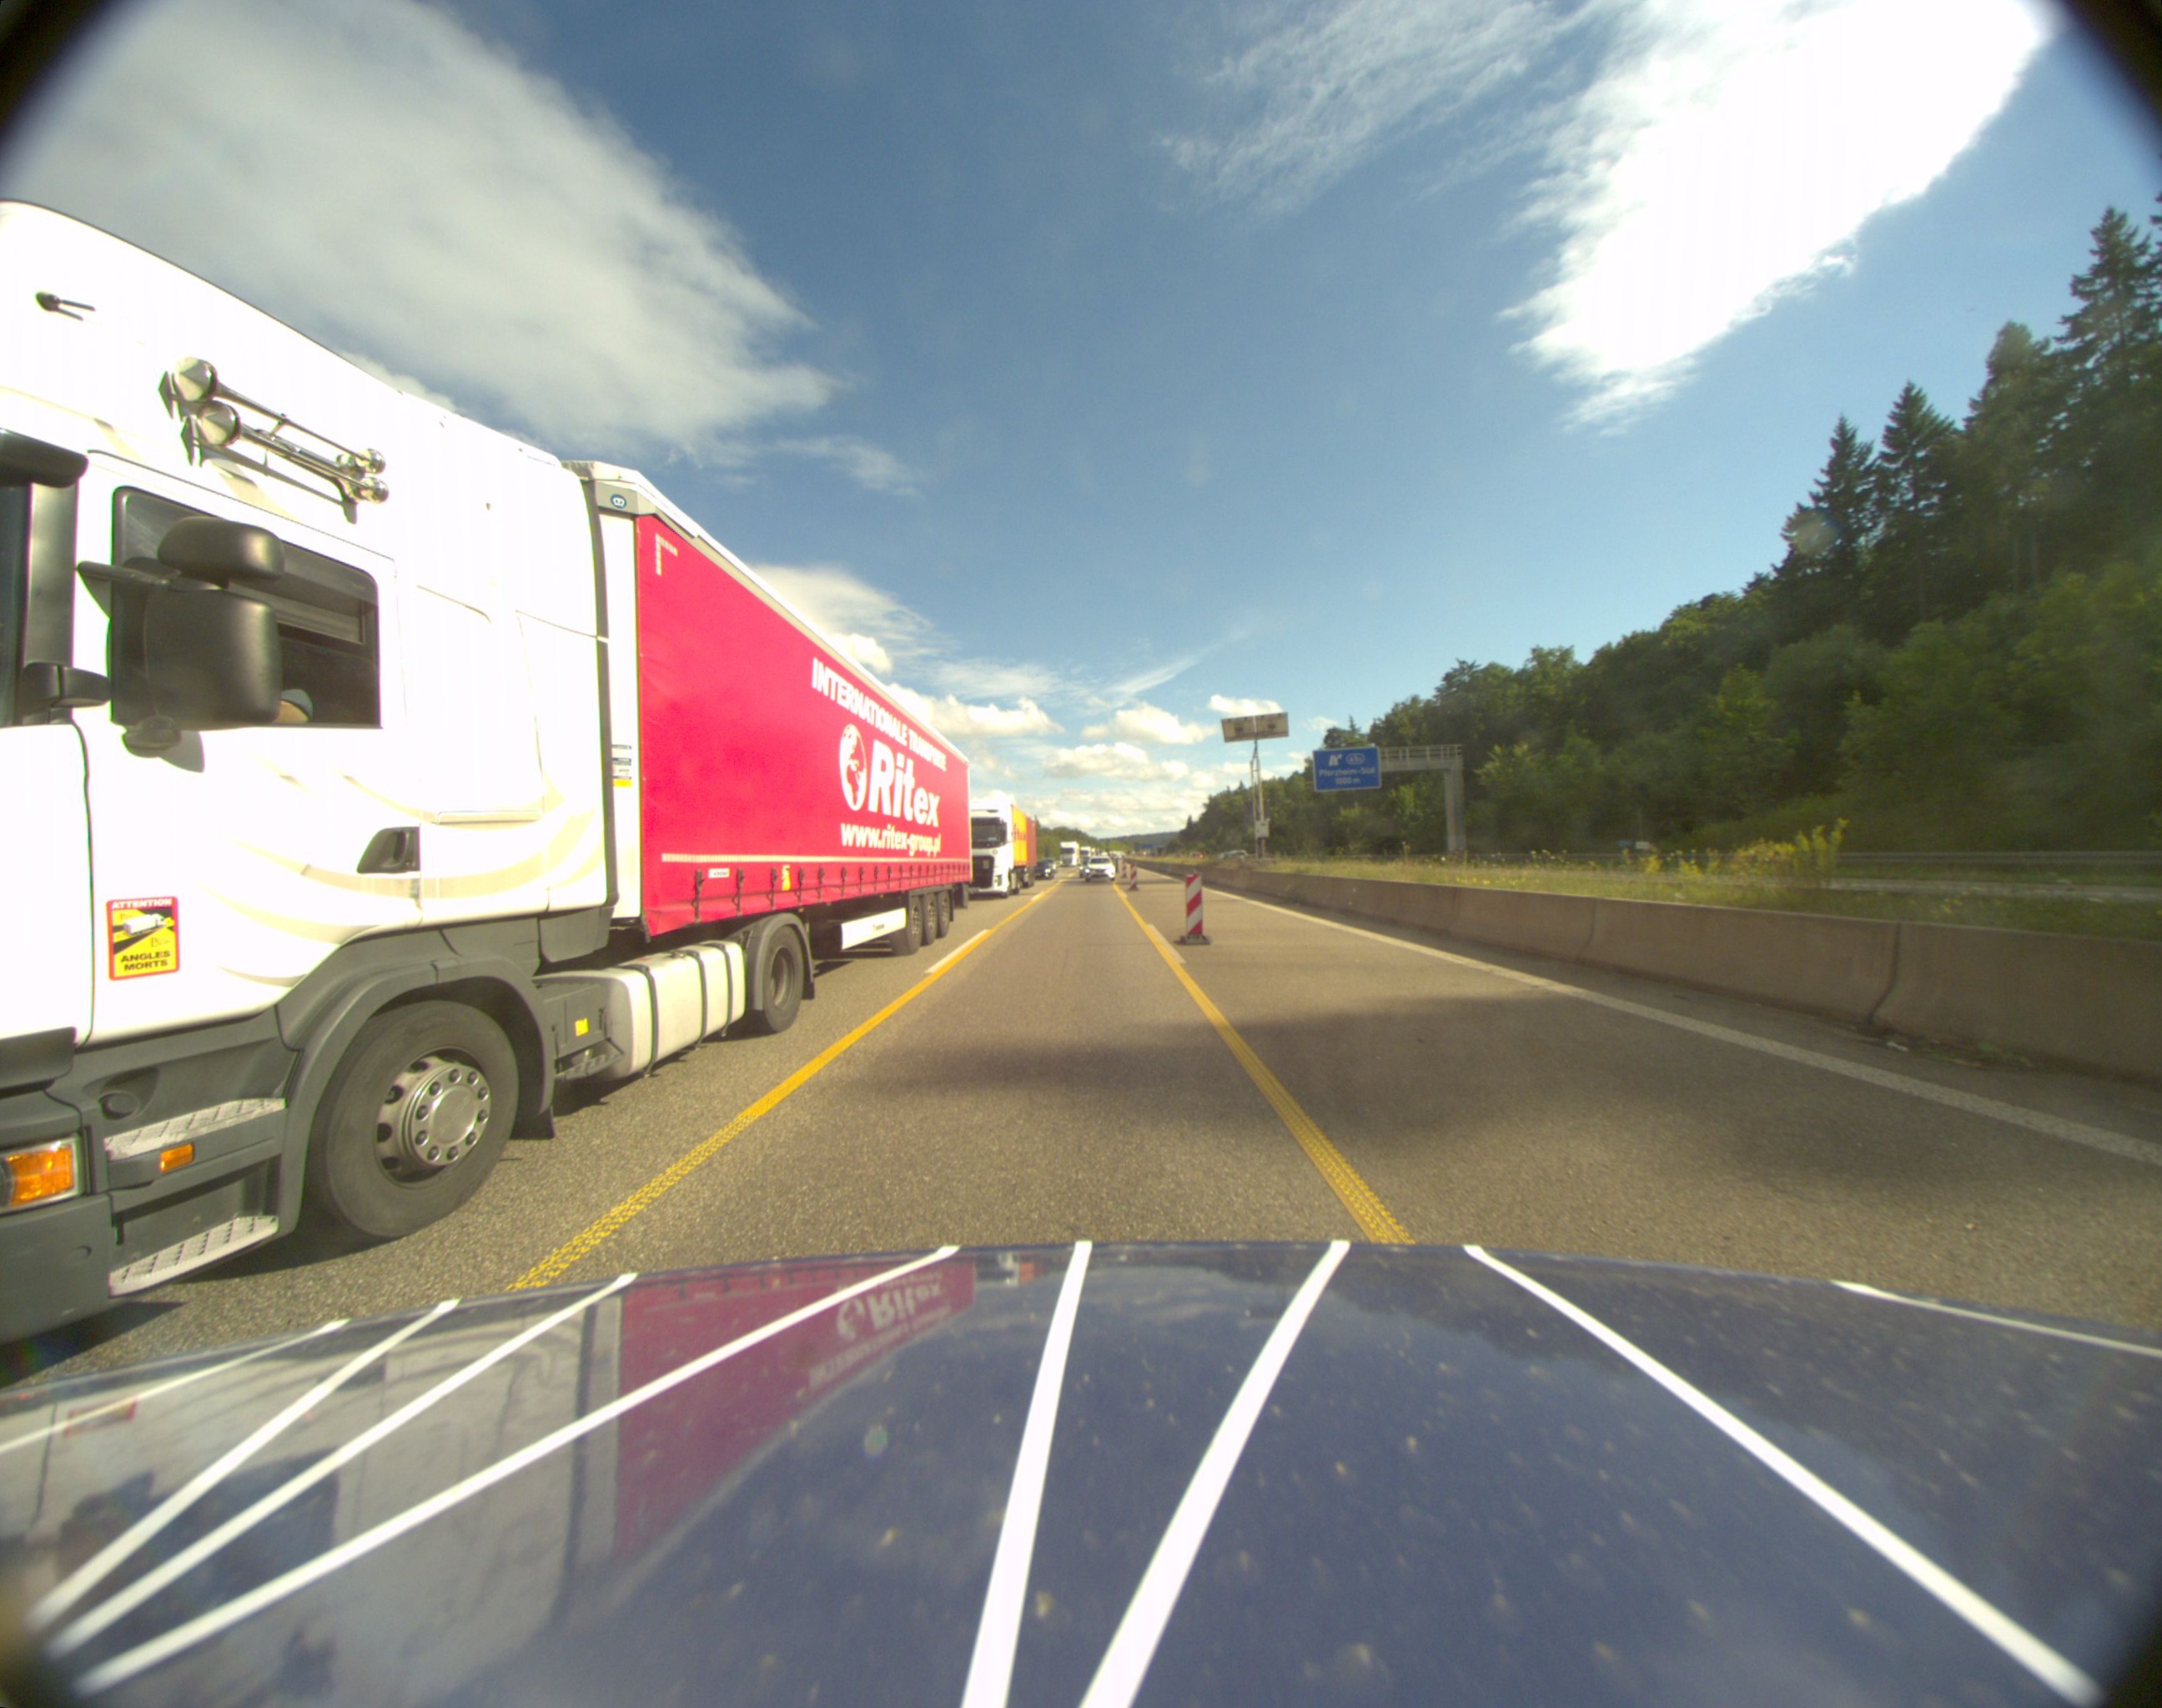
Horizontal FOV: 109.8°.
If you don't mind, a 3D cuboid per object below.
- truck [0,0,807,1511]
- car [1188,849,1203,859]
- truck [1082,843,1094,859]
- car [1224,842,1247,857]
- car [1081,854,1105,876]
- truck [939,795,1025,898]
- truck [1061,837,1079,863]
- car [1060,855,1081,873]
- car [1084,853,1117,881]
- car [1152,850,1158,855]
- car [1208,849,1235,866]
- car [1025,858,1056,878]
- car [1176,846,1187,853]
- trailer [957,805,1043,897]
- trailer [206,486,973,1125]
[{"bbox_3d":[-4.091,-0.289,4.541,2.674,3.936,5.710,-2,0,0],"label":"truck"},{"bbox_3d":[17.873,-0.017,118.545,1.665,1.379,3.911,-2,1,0],"label":"car"},{"bbox_3d":[1.875,-0.814,195.144,2.640,4.092,8.197,-2,0,3],"label":"truck"},{"bbox_3d":[16.739,-0.527,82.402,1.665,1.572,3.911,-2,1,0],"label":"car"},{"bbox_3d":[0.893,0.794,57.088,1.692,1.471,3.754,-1,1,1],"label":"car"},{"bbox_3d":[-3.922,-0.308,31.365,2.501,3.759,5.790,-2,1,2],"label":"truck"},{"bbox_3d":[-1.787,-0.575,126.186,2.641,4.092,8.194,-2,0,0],"label":"truck"},{"bbox_3d":[-0.932,0.904,69.980,1.762,1.471,3.968,-1,1,1],"label":"car"},{"bbox_3d":[1.170,0.764,47.193,1.840,1.528,3.882,-2,1,-1],"label":"car"},{"bbox_3d":[25.324,-0.605,260.235,1.944,1.455,3.911,-2,1,0],"label":"car"},{"bbox_3d":[12.196,0.301,65.995,1.664,1.379,3.912,-2,1,1],"label":"car"},{"bbox_3d":[-2.894,0.978,55.254,1.933,1.342,4.477,-2,0,1],"label":"car"},{"bbox_3d":[22.871,-0.959,173.395,1.944,1.455,3.911,-2,1,0],"label":"car"},{"bbox_3d":[-3.702,-0.150,38.145,2.477,3.753,12.136,-2,0,2],"label":"trailer"},{"bbox_3d":[-4.053,-0.309,11.515,2.706,3.945,13.416,-2,0,0],"label":"trailer"}]
